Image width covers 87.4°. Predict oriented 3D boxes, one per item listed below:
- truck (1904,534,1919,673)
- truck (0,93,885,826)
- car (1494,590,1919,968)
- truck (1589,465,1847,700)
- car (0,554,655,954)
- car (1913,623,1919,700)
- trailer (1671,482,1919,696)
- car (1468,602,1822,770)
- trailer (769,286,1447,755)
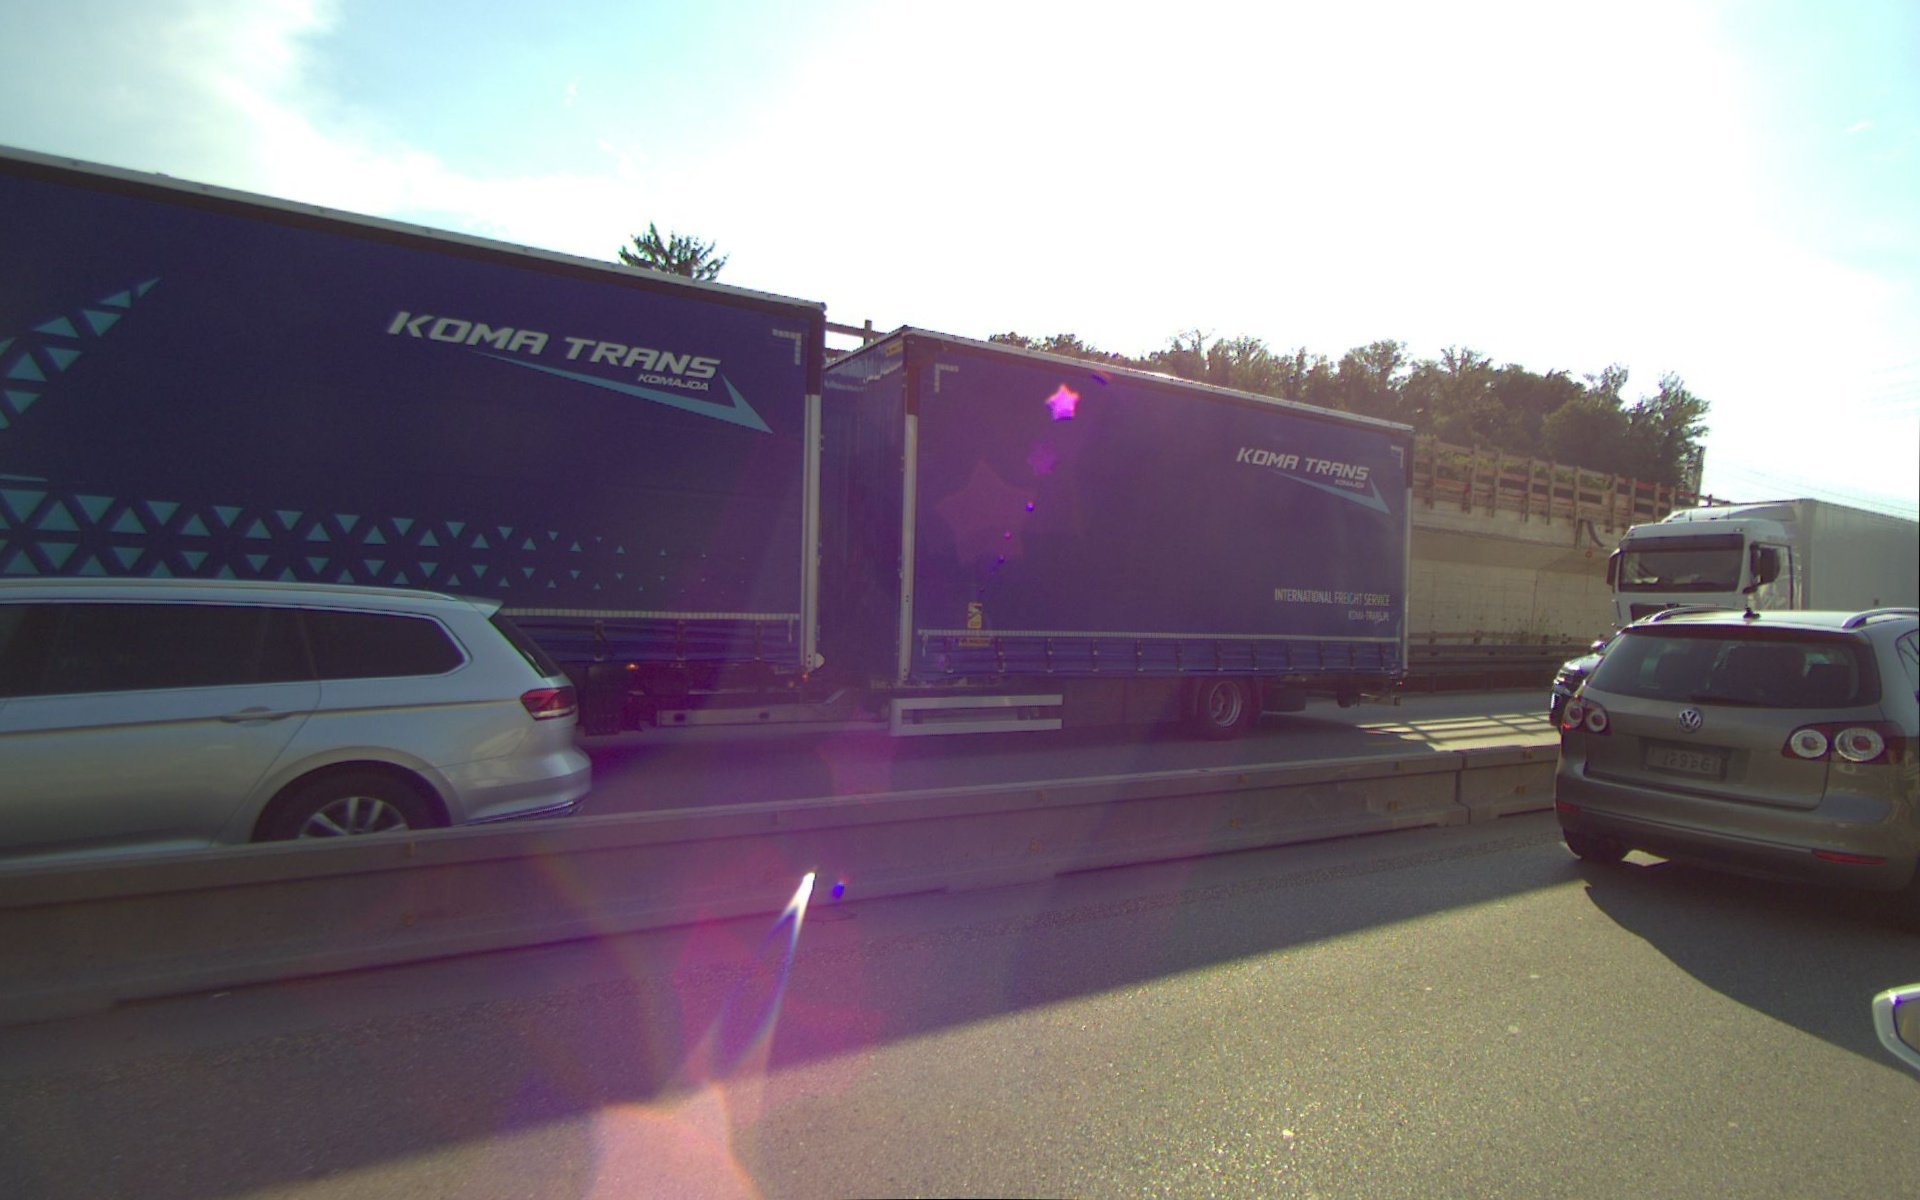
[{"bbox_3d":[32.536,0.193,31.598,6.050,4.259,2.748,2,0,-33],"label":"truck"},{"bbox_3d":[-5.897,-0.818,7.420,10.460,4.315,2.801,2,0,-31],"label":"truck"},{"bbox_3d":[5.257,0.815,6.057,4.098,1.608,1.692,2,0,-30],"label":"car"},{"bbox_3d":[15.996,-0.265,21.133,5.412,4.373,2.443,2,0,-31],"label":"truck"},{"bbox_3d":[-3.892,0.553,4.520,4.537,1.460,1.734,1,2,-30],"label":"car"},{"bbox_3d":[21.375,1.292,20.222,4.676,1.628,1.871,2,2,-30],"label":"car"},{"bbox_3d":[22.407,-0.048,25.153,13.623,4.377,2.442,2,0,-32],"label":"trailer"},{"bbox_3d":[7.934,0.889,11.532,4.319,1.597,1.690,2,0,-31],"label":"car"},{"bbox_3d":[2.105,-0.603,12.247,8.191,4.160,2.801,2,0,-31],"label":"trailer"}]
